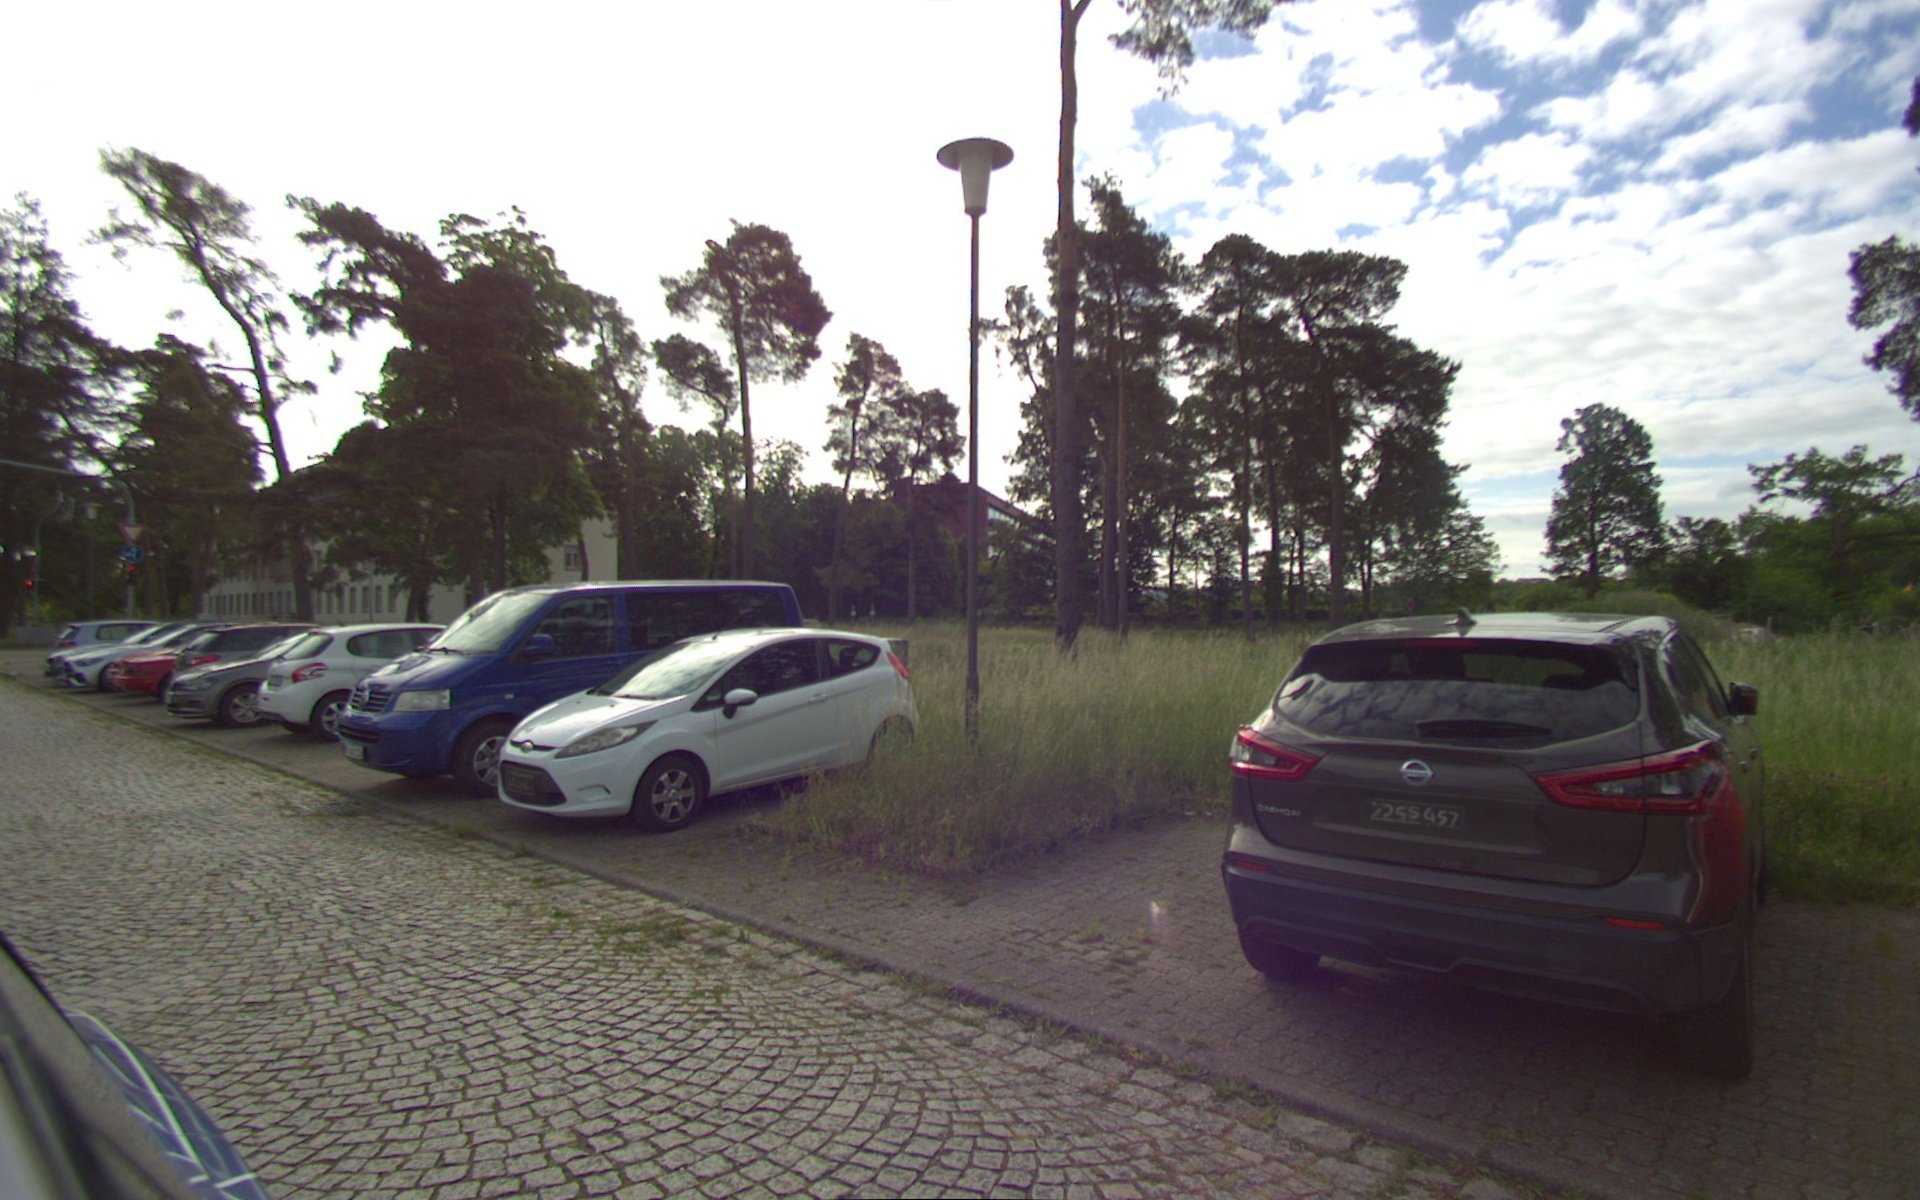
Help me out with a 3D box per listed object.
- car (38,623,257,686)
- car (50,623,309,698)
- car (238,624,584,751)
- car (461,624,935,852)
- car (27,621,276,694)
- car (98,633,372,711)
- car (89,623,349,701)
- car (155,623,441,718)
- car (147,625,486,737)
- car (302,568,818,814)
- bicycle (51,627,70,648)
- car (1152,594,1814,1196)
[{"bbox_3d":[-21.372,1.365,26.747,1.827,1.481,4.282,0,-1,42],"label":"car"},{"bbox_3d":[-17.599,1.292,22.992,1.949,1.466,4.389,0,-1,42],"label":"car"},{"bbox_3d":[-7.678,1.114,14.416,1.842,1.513,3.962,-2,-2,43],"label":"car"},{"bbox_3d":[-2.084,0.983,8.866,1.724,1.505,3.756,-2,-2,39],"label":"car"},{"bbox_3d":[-19.632,1.325,24.746,1.868,1.548,4.458,0,-1,38],"label":"car"},{"bbox_3d":[-14.102,1.337,19.865,1.763,1.293,4.088,-2,-2,41],"label":"car"},{"bbox_3d":[-15.719,1.250,21.639,1.854,1.466,4.209,-2,-2,41],"label":"car"},{"bbox_3d":[-11.870,1.180,18.352,1.755,1.492,4.044,-2,-2,42],"label":"car"},{"bbox_3d":[-10.044,1.168,16.058,1.731,1.492,4.258,-2,-2,42],"label":"car"},{"bbox_3d":[-3.930,0.778,10.661,2.037,1.995,4.661,-2,-2,40],"label":"car"},{"bbox_3d":[-46.982,1.953,52.857,1.415,1.082,0.491,-1,1,39],"label":"bicycle"},{"bbox_3d":[2.788,0.816,4.870,1.953,1.587,4.027,-2,-2,40],"label":"car"}]
